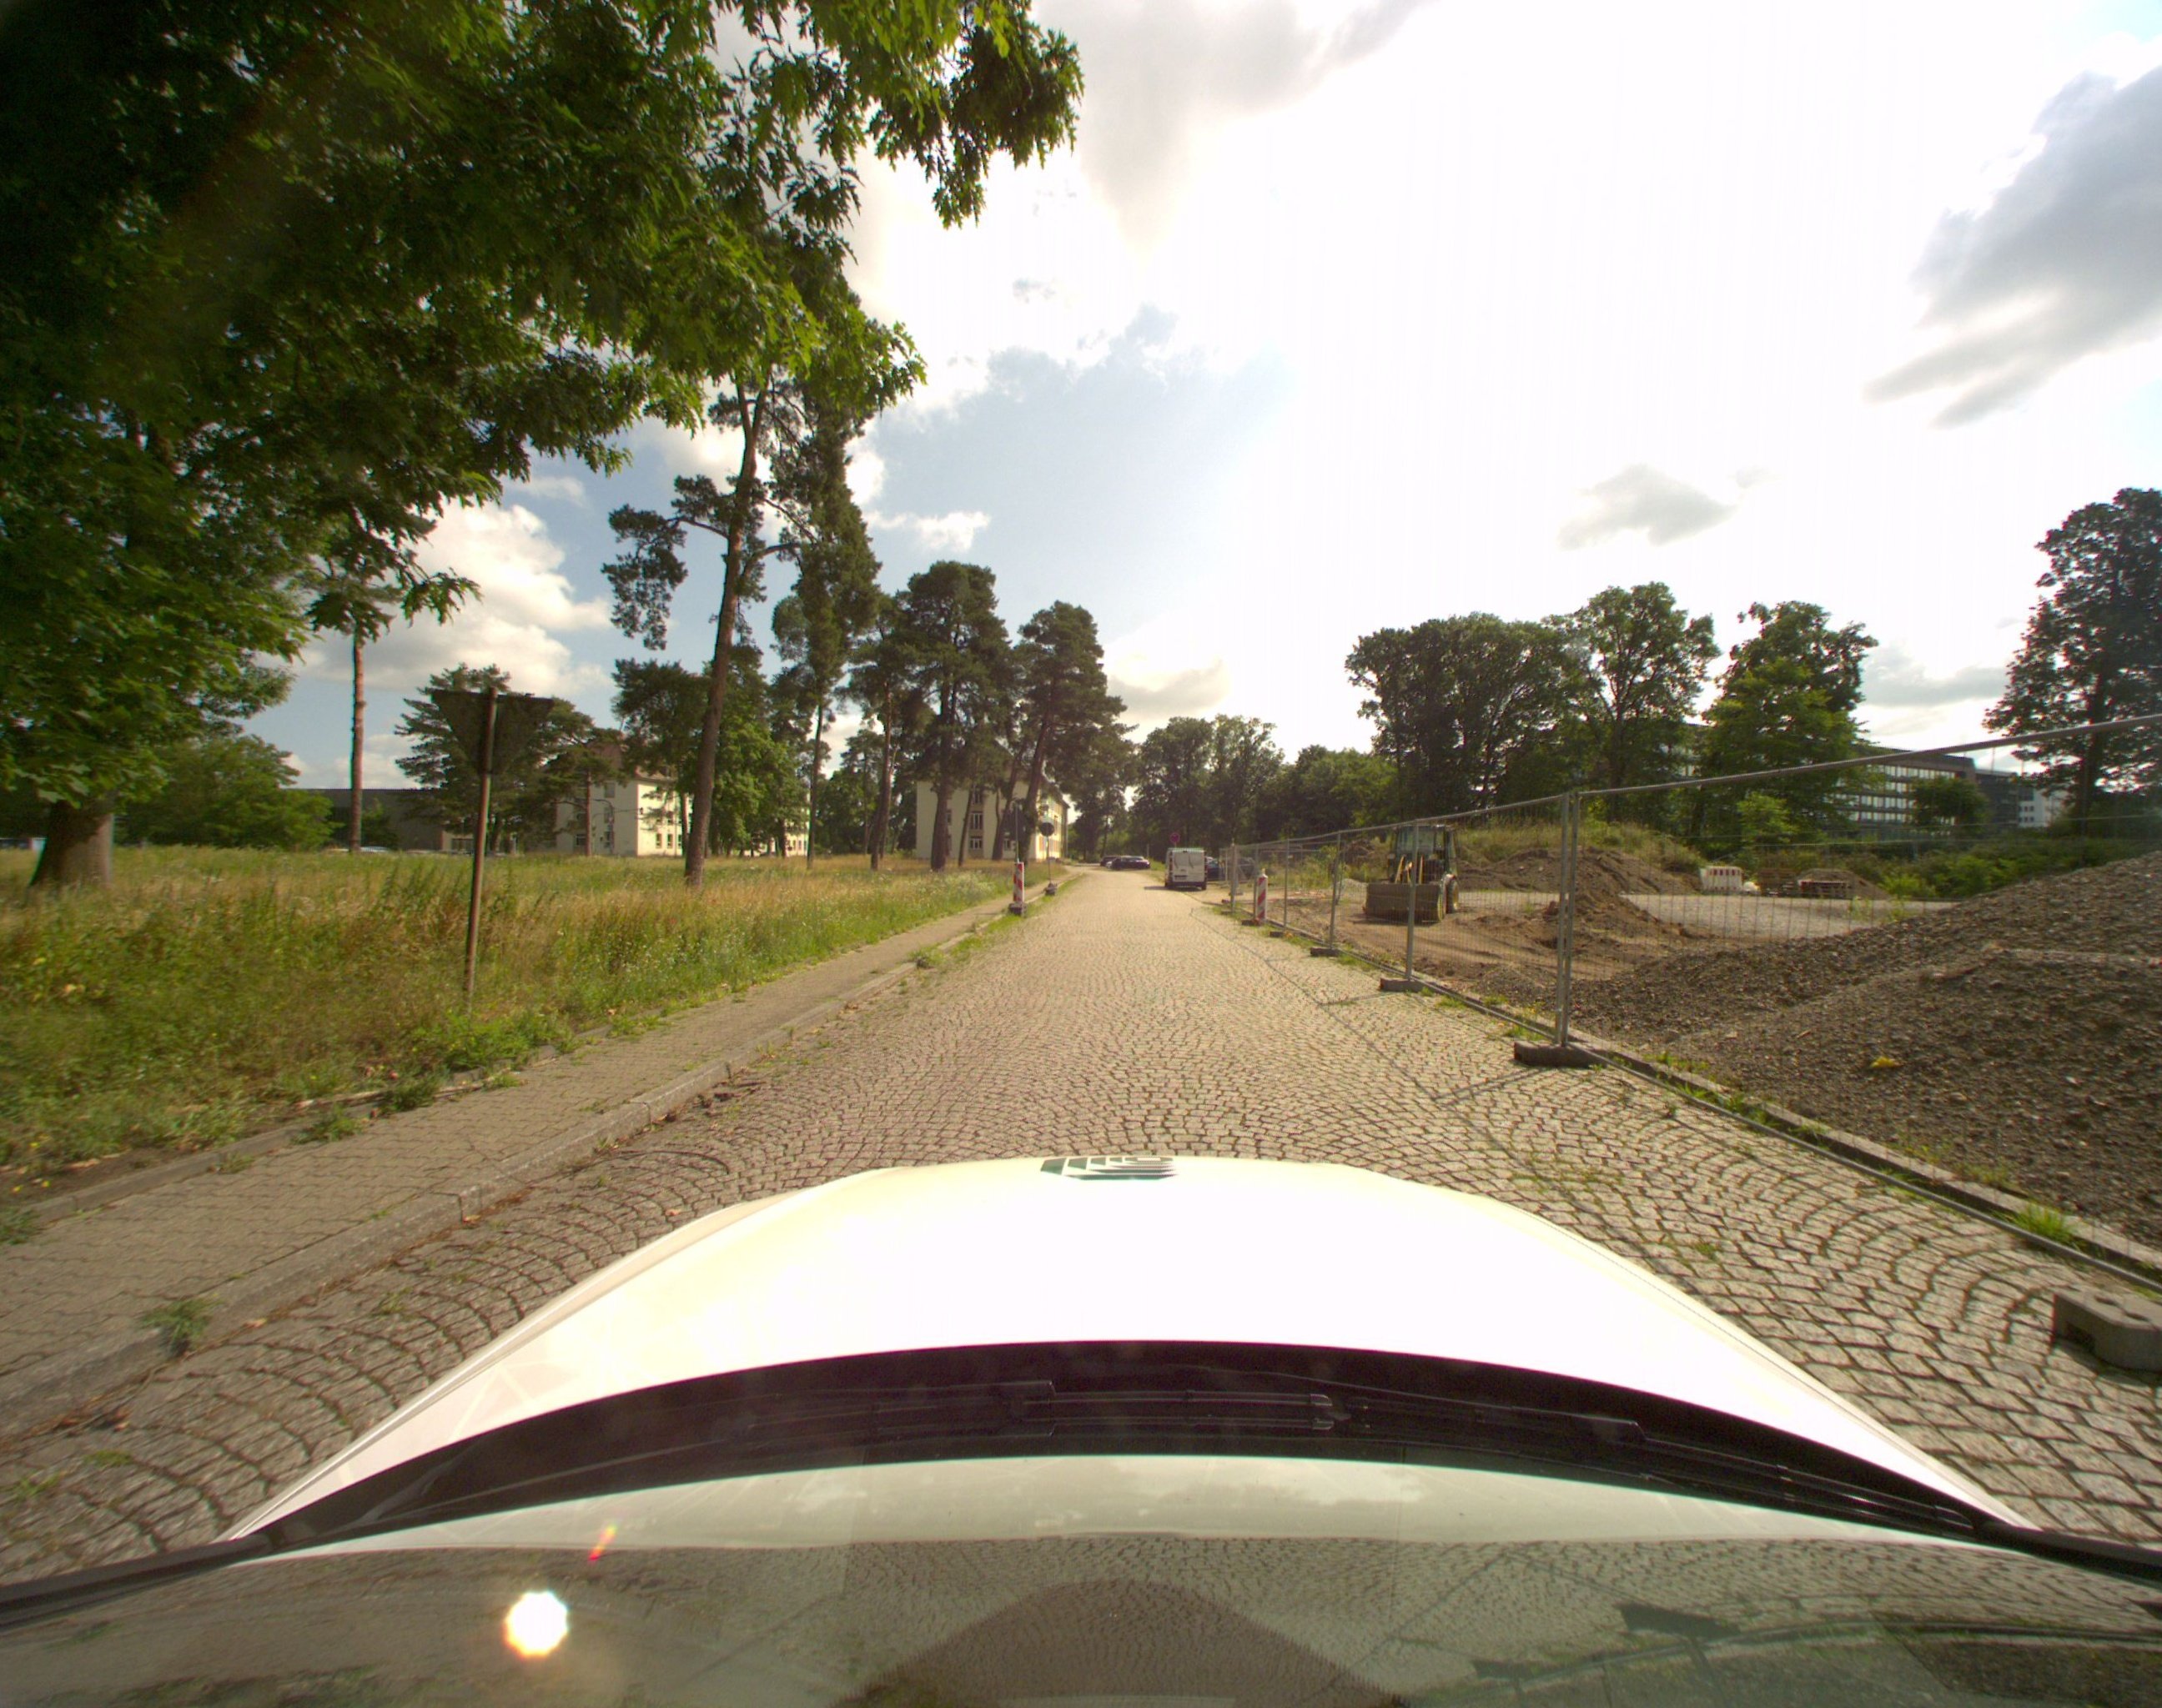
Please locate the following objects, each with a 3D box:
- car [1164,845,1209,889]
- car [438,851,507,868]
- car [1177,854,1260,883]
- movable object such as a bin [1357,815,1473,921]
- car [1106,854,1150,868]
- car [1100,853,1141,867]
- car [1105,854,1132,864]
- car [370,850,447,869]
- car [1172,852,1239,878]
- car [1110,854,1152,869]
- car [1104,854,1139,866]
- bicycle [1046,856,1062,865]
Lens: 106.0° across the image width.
[{"bbox_3d":[5.258,0.618,41.245,1.906,2.053,5.684,0,0,3],"label":"car"},{"bbox_3d":[-48.960,0.425,65.585,4.051,1.309,1.901,0,0,1],"label":"car"},{"bbox_3d":[7.909,0.826,47.116,4.442,1.475,1.744,-1,0,-2],"label":"car"},{"bbox_3d":[9.303,0.286,22.342,2.122,2.521,5.692,-1,1,31],"label":"movable object such as a bin"},{"bbox_3d":[5.315,0.793,91.741,4.845,1.472,1.875,-1,1,0],"label":"car"},{"bbox_3d":[4.783,0.696,99.194,4.836,1.552,1.880,-1,-1,0],"label":"car"},{"bbox_3d":[5.877,0.785,127.239,4.168,1.543,1.822,-1,-1,4],"label":"car"},{"bbox_3d":[-49.760,0.387,60.298,4.051,1.339,1.901,0,0,1],"label":"car"},{"bbox_3d":[7.904,0.703,51.774,3.974,1.507,1.746,-1,0,-1],"label":"car"},{"bbox_3d":[5.413,0.803,88.489,4.319,1.500,1.826,-1,1,-6],"label":"car"},{"bbox_3d":[5.214,0.752,104.421,4.383,1.484,1.766,-1,-1,0],"label":"car"},{"bbox_3d":[-3.926,0.891,116.521,2.212,1.260,0.624,0,-1,4],"label":"bicycle"}]
